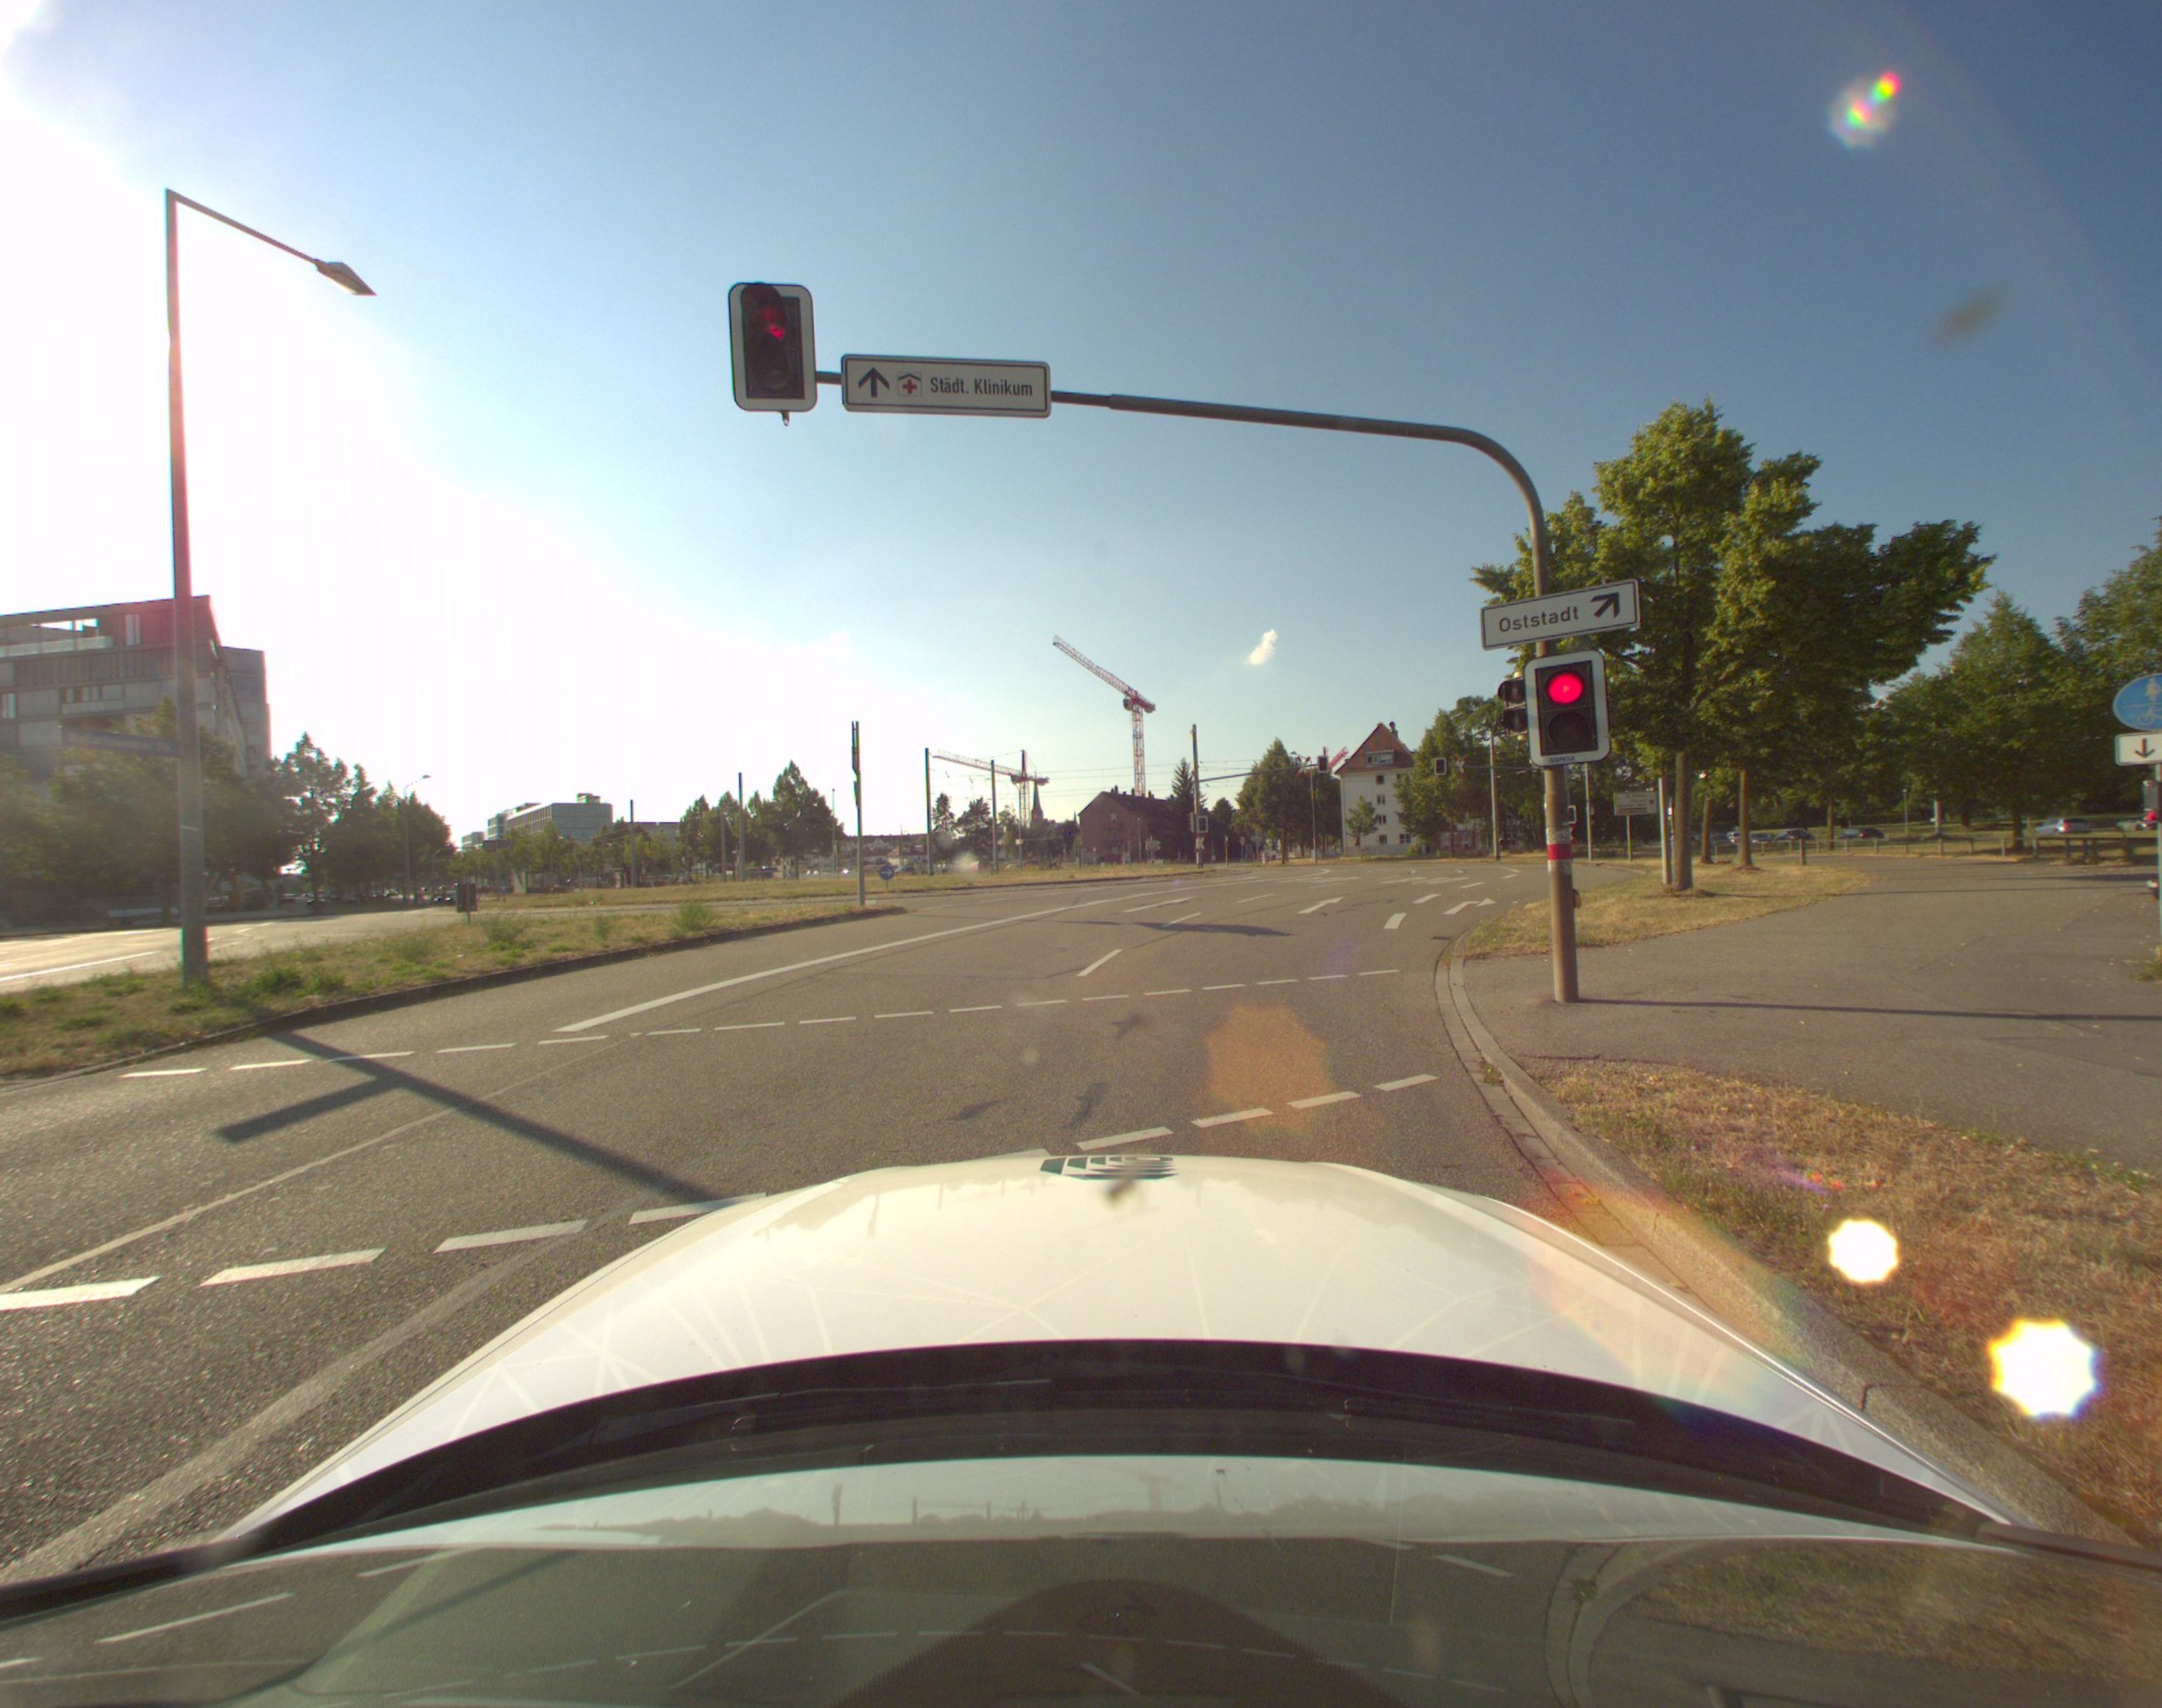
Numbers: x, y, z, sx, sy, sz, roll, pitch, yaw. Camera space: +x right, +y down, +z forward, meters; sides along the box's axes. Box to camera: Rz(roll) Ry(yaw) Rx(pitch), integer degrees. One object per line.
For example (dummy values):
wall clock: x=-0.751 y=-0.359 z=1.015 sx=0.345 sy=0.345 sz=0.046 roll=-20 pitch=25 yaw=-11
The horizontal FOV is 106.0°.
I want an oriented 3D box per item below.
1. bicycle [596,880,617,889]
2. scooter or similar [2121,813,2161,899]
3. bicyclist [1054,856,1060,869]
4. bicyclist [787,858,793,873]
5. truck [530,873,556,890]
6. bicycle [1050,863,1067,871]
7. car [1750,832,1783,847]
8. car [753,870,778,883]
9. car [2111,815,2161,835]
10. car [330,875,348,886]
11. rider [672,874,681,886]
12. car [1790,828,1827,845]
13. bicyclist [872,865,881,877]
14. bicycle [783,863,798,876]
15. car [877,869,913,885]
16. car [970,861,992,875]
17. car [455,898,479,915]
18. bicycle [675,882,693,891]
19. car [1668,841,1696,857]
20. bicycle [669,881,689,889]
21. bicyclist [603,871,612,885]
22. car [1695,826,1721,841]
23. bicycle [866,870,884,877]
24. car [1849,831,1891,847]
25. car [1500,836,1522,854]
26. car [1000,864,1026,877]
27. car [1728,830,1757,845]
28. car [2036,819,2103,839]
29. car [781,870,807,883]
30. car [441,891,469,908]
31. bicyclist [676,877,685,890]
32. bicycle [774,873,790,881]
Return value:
bicycle: x=-47.224 y=3.024 z=81.099 sx=0.474 sy=0.744 sz=1.732 roll=-3 pitch=0 yaw=45
scooter or similar: x=15.451 y=0.004 z=11.634 sx=1.172 sy=1.160 sz=0.340 roll=-4 pitch=-3 yaw=-23
bicyclist: x=-2.788 y=1.056 z=96.085 sx=0.621 sy=1.511 sz=0.418 roll=-2 pitch=0 yaw=-4
bicyclist: x=-33.269 y=1.317 z=93.092 sx=0.610 sy=1.672 sz=0.473 roll=-2 pitch=-1 yaw=-28
truck: x=-111.177 y=5.712 z=168.201 sx=3.156 sy=3.231 sz=7.085 roll=-2 pitch=0 yaw=-44
bicycle: x=-2.699 y=1.542 z=96.086 sx=1.983 sy=0.918 sz=0.429 roll=-2 pitch=0 yaw=-4
car: x=61.142 y=-1.272 z=72.683 sx=1.586 sy=1.221 sz=3.993 roll=-3 pitch=-1 yaw=30
car: x=-53.365 y=3.754 z=137.556 sx=3.948 sy=2.013 sz=2.013 roll=-3 pitch=0 yaw=36
car: x=82.665 y=-2.261 z=63.188 sx=1.804 sy=1.403 sz=4.023 roll=-3 pitch=-1 yaw=26
car: x=-110.697 y=3.914 z=121.435 sx=1.800 sy=1.556 sz=3.950 roll=0 pitch=-1 yaw=-45
rider: x=-45.250 y=2.870 z=91.037 sx=0.658 sy=1.325 sz=0.679 roll=-2 pitch=0 yaw=-45
car: x=63.660 y=-1.521 z=71.291 sx=1.586 sy=1.402 sz=3.993 roll=-3 pitch=-1 yaw=30
bicyclist: x=-25.062 y=2.127 z=99.777 sx=0.895 sy=1.396 sz=0.525 roll=-2 pitch=0 yaw=-4
bicycle: x=-33.171 y=1.752 z=93.099 sx=1.547 sy=1.473 sz=0.475 roll=-2 pitch=0 yaw=-27
car: x=-24.115 y=2.968 z=105.561 sx=4.013 sy=1.816 sz=1.981 roll=-2 pitch=0 yaw=-30
car: x=-14.417 y=2.054 z=116.951 sx=1.929 sy=1.854 sz=3.966 roll=-2 pitch=0 yaw=-26
car: x=-58.548 y=4.966 z=77.629 sx=1.493 sy=1.475 sz=3.260 roll=-2 pitch=0 yaw=-42
bicycle: x=-42.447 y=3.443 z=87.096 sx=0.538 sy=0.860 sz=1.629 roll=-3 pitch=0 yaw=43
car: x=55.925 y=-0.470 z=75.793 sx=1.586 sy=1.402 sz=3.993 roll=-3 pitch=-1 yaw=30
bicycle: x=-41.916 y=3.230 z=84.893 sx=0.474 sy=0.744 sz=1.732 roll=-3 pitch=0 yaw=45
bicyclist: x=-47.169 y=2.411 z=81.175 sx=0.658 sy=1.325 sz=0.512 roll=-2 pitch=0 yaw=-45
car: x=64.578 y=-2.065 z=83.921 sx=1.586 sy=1.402 sz=3.993 roll=-3 pitch=-1 yaw=30
bicycle: x=-25.243 y=2.400 z=99.797 sx=1.983 sy=0.825 sz=0.429 roll=-2 pitch=0 yaw=-4
car: x=67.170 y=-1.256 z=69.381 sx=1.586 sy=1.310 sz=3.993 roll=-3 pitch=-1 yaw=30
car: x=42.915 y=-0.903 z=81.244 sx=1.754 sy=1.618 sz=3.993 roll=-3 pitch=-1 yaw=30
car: x=-11.061 y=2.725 z=133.224 sx=3.776 sy=2.014 sz=1.680 roll=-3 pitch=-1 yaw=20
car: x=67.276 y=-1.703 z=82.865 sx=1.586 sy=1.402 sz=3.993 roll=-3 pitch=-1 yaw=30
car: x=78.366 y=-1.979 z=64.614 sx=1.804 sy=1.403 sz=4.023 roll=-3 pitch=-1 yaw=26
car: x=-46.692 y=3.668 z=132.430 sx=3.948 sy=2.013 sz=2.013 roll=-3 pitch=0 yaw=36
car: x=-63.601 y=4.609 z=82.730 sx=2.011 sy=1.475 sz=3.952 roll=-2 pitch=0 yaw=-42
bicyclist: x=-41.789 y=3.048 z=85.032 sx=0.658 sy=1.325 sz=0.512 roll=-2 pitch=0 yaw=-45
bicycle: x=-33.554 y=2.612 z=91.478 sx=1.622 sy=0.860 sz=0.541 roll=-2 pitch=0 yaw=-24
